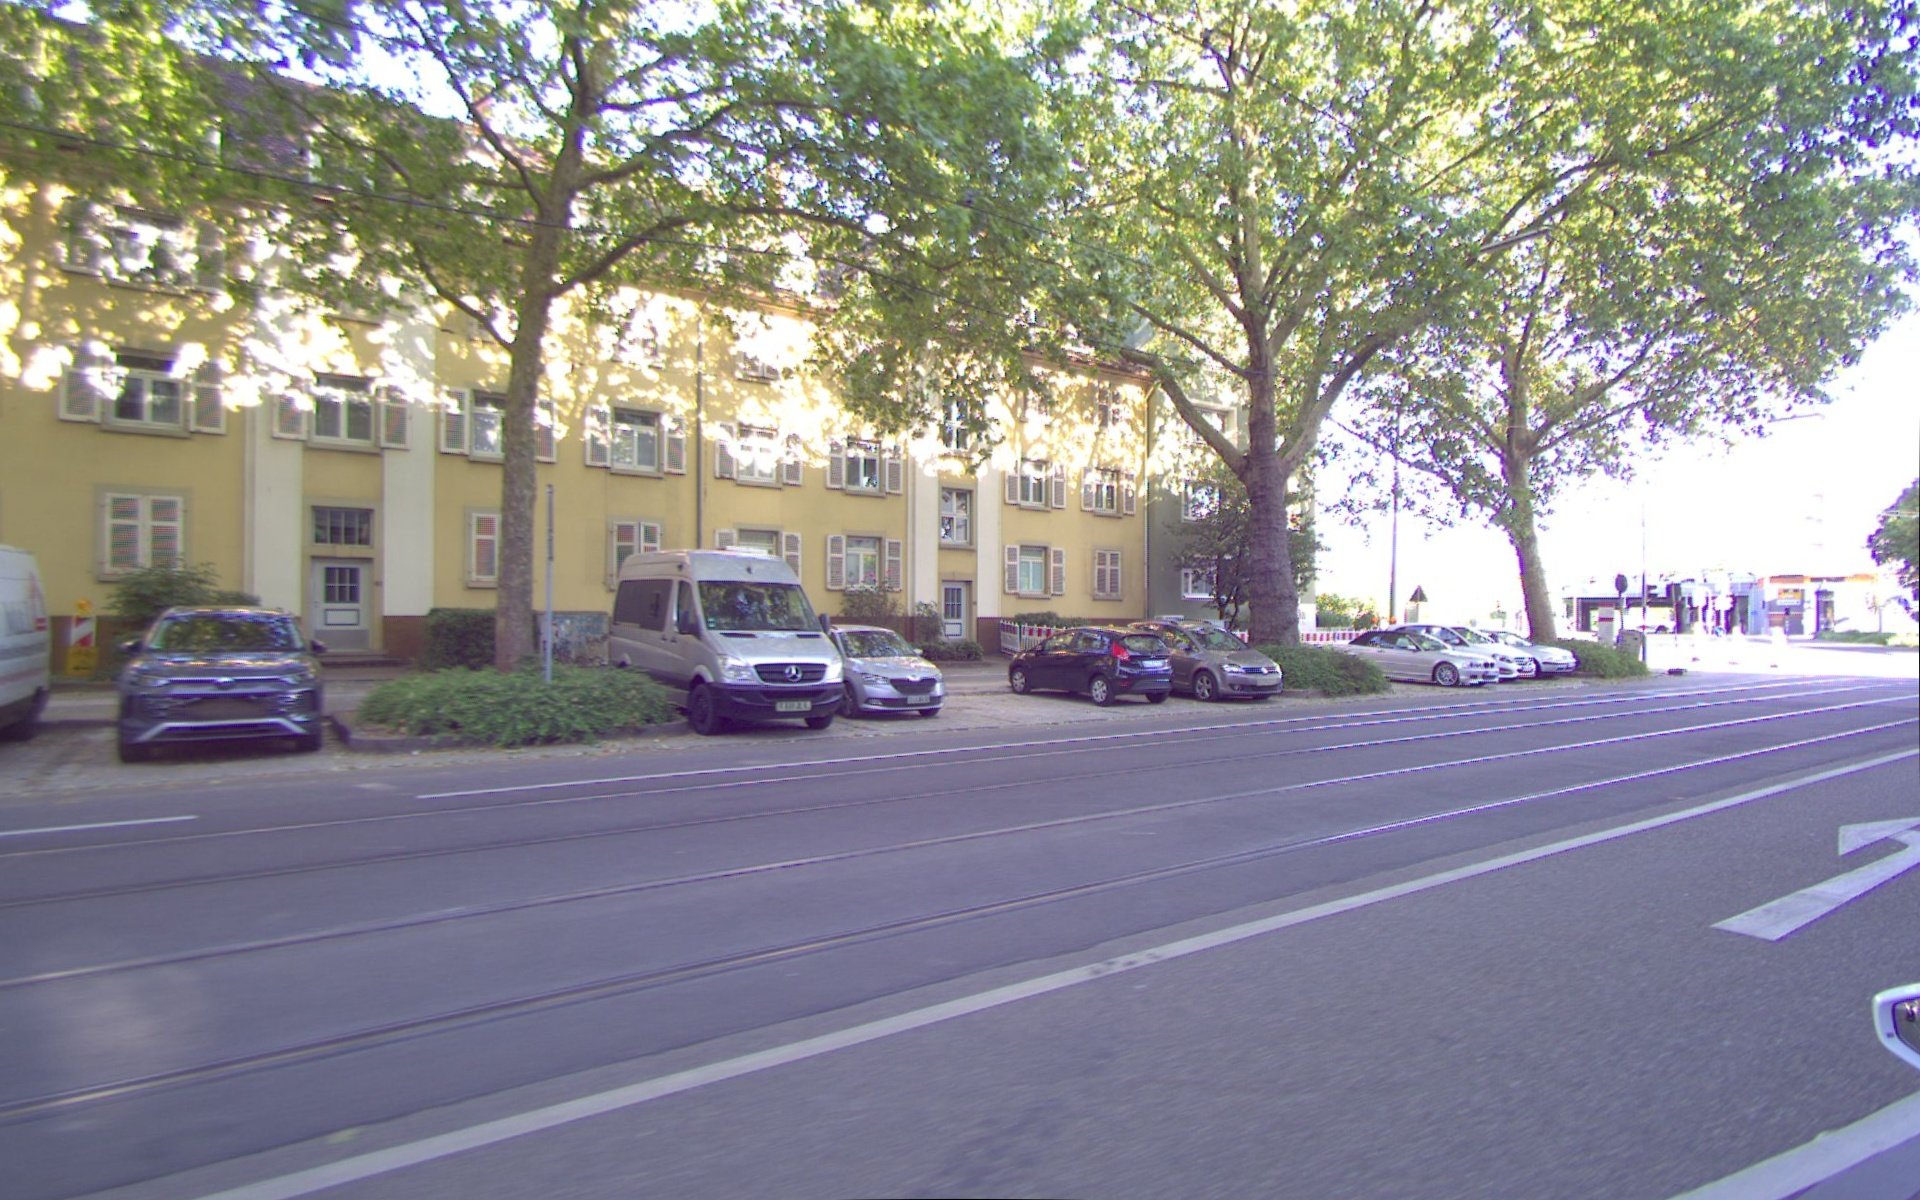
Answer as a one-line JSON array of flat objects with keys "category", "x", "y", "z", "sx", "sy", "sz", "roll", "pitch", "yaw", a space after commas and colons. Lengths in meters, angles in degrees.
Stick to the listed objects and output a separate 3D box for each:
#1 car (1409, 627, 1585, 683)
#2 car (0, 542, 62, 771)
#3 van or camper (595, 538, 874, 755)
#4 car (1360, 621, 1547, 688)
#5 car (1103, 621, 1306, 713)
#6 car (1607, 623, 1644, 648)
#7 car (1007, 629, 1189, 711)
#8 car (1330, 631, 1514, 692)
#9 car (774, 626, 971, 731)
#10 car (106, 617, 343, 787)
[{"category": "car", "x": 16.101, "y": 1.602, "z": 30.343, "sx": 1.658, "sy": 1.448, "sz": 4.486, "roll": 1, "pitch": 0, "yaw": -32}, {"category": "car", "x": -11.238, "y": 0.600, "z": 10.486, "sx": 2.005, "sy": 2.407, "sz": 5.563, "roll": 1, "pitch": -2, "yaw": -34}, {"category": "van or camper", "x": -3.790, "y": 0.615, "z": 15.734, "sx": 2.206, "sy": 2.712, "sz": 6.073, "roll": 1, "pitch": -1, "yaw": -34}, {"category": "car", "x": 14.075, "y": 1.486, "z": 28.915, "sx": 1.779, "sy": 1.640, "sz": 4.583, "roll": 1, "pitch": 0, "yaw": -32}, {"category": "car", "x": 5.098, "y": 1.337, "z": 21.494, "sx": 1.795, "sy": 1.627, "sz": 4.165, "roll": 1, "pitch": 0, "yaw": -32}, {"category": "car", "x": 44.806, "y": 2.355, "z": 67.643, "sx": 1.802, "sy": 1.539, "sz": 3.879, "roll": 1, "pitch": 0, "yaw": 37}, {"category": "car", "x": 2.690, "y": 1.320, "z": 20.203, "sx": 1.724, "sy": 1.448, "sz": 3.542, "roll": 1, "pitch": -1, "yaw": -34}, {"category": "car", "x": 12.207, "y": 1.578, "z": 26.793, "sx": 1.710, "sy": 1.386, "sz": 4.216, "roll": 1, "pitch": -1, "yaw": -33}, {"category": "car", "x": -1.657, "y": 1.273, "z": 17.549, "sx": 1.711, "sy": 1.489, "sz": 4.121, "roll": 2, "pitch": -1, "yaw": -32}, {"category": "car", "x": -8.786, "y": 1.044, "z": 12.209, "sx": 1.950, "sy": 1.652, "sz": 4.534, "roll": 1, "pitch": -1, "yaw": -35}]
